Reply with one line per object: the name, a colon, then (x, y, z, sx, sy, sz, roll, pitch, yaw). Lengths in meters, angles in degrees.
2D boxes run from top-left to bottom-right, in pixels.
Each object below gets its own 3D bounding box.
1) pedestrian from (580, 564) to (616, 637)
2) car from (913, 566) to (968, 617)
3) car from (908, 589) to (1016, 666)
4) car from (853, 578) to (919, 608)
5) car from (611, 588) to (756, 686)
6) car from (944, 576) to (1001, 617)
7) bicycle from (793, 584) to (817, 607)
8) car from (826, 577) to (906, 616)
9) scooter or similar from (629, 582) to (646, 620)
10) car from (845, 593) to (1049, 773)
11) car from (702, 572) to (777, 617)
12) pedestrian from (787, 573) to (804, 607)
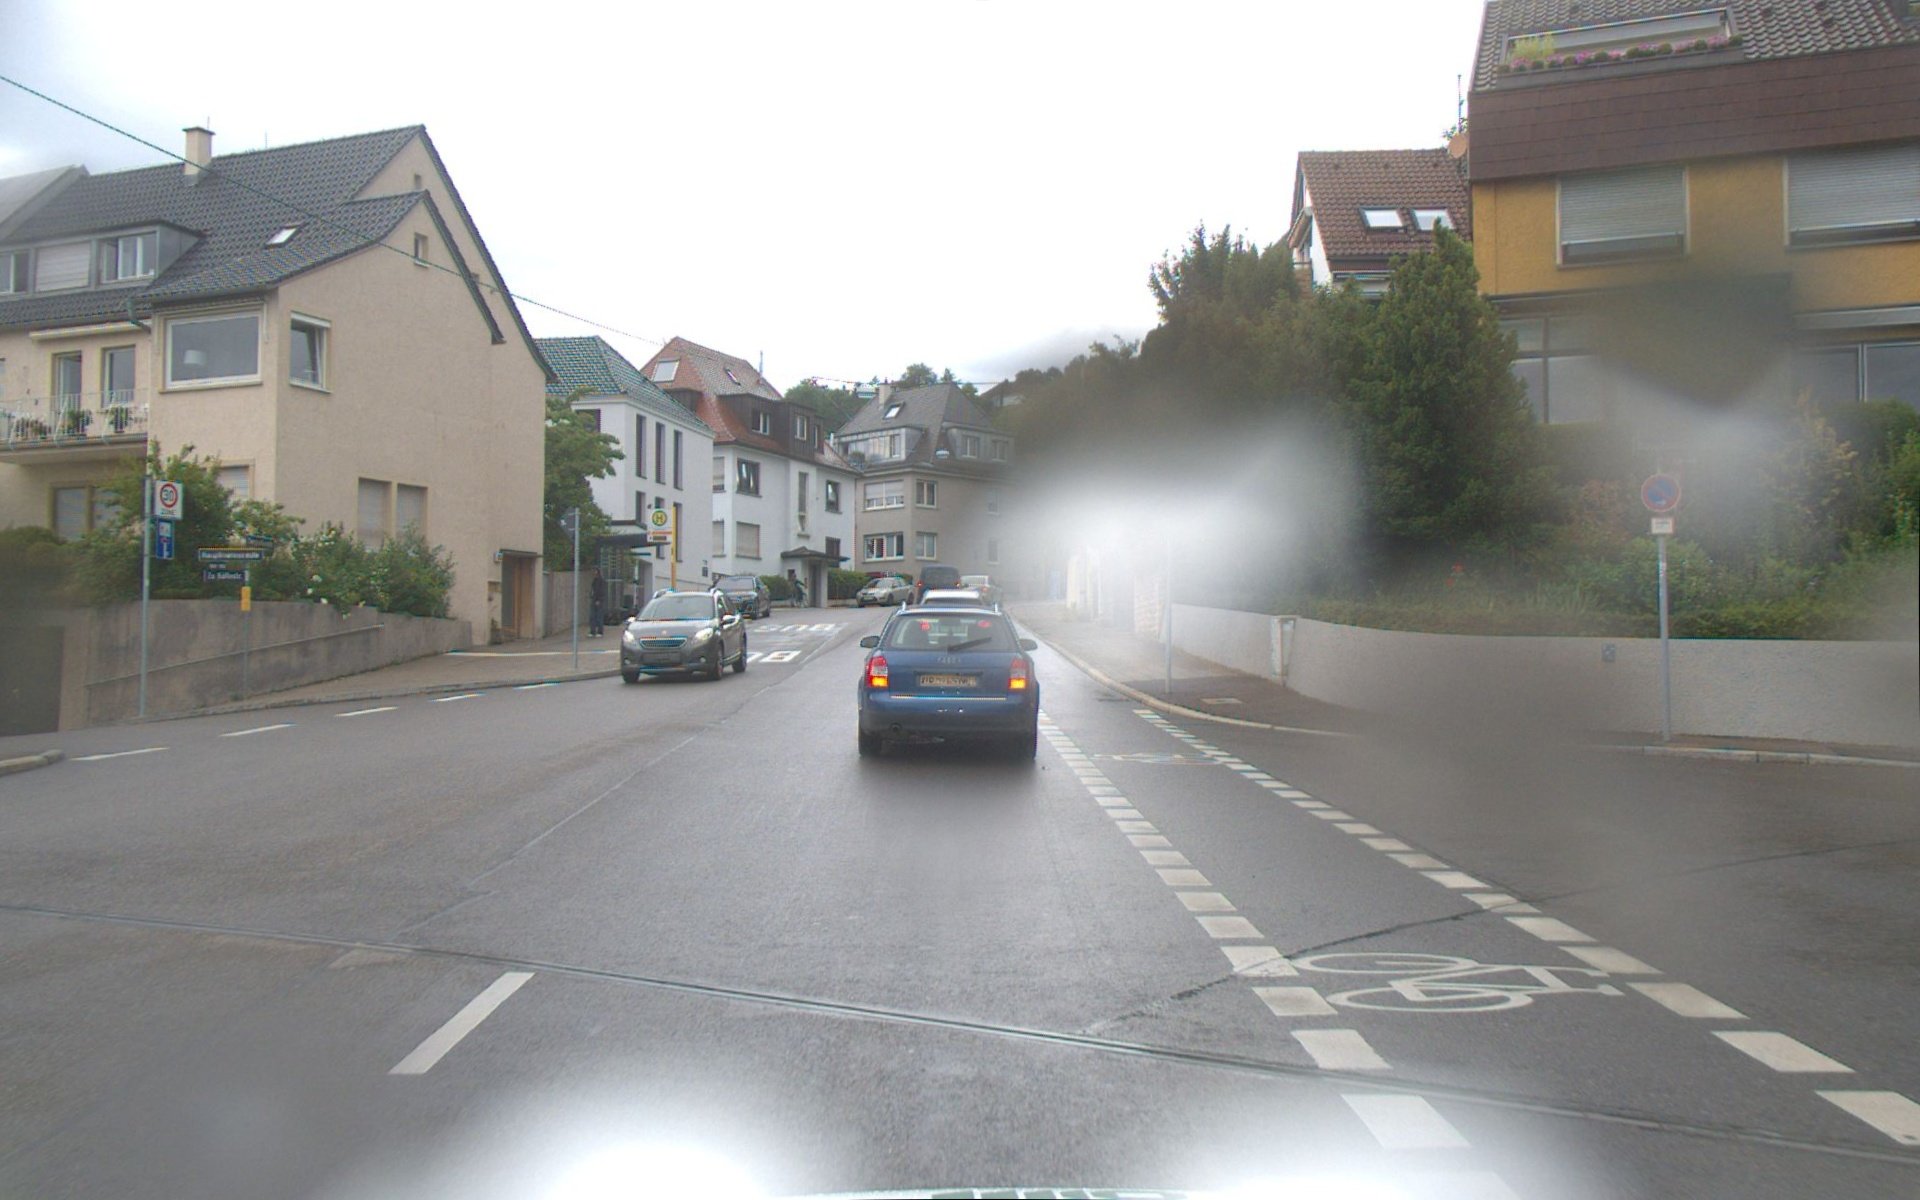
pedestrian: (-9.558, 0.018, 43.699, 0.770, 1.889, 0.728, 1, 0, -1)
car: (-0.717, -0.311, 60.083, 1.889, 1.735, 3.999, -1, 0, -1)
car: (-0.027, 0.523, 32.734, 1.776, 1.384, 3.996, 2, 0, -5)
car: (-3.724, -0.375, 84.223, 1.798, 1.450, 4.230, -2, 0, 21)
car: (-4.795, 0.608, 29.154, 1.697, 1.572, 4.001, -1, 0, 2)
car: (0.591, -0.185, 73.022, 1.887, 1.735, 4.004, -1, 0, 9)
bicycle: (-7.452, -0.216, 79.652, 0.446, 1.085, 1.923, 0, 1, 17)
car: (-5.310, -0.199, 93.201, 3.910, 1.854, 1.998, -6, -1, 27)
scooter or similar: (-10.504, 0.021, 53.924, 0.330, 1.241, 1.123, 1, 1, 0)
car: (-0.121, 0.731, 16.677, 1.774, 1.464, 4.082, 2, 1, 0)
car: (-7.792, -0.211, 58.828, 1.791, 1.511, 4.993, -1, 0, 2)
pedestrian: (-7.938, -0.488, 79.735, 0.482, 1.604, 0.948, 0, 1, 17)
